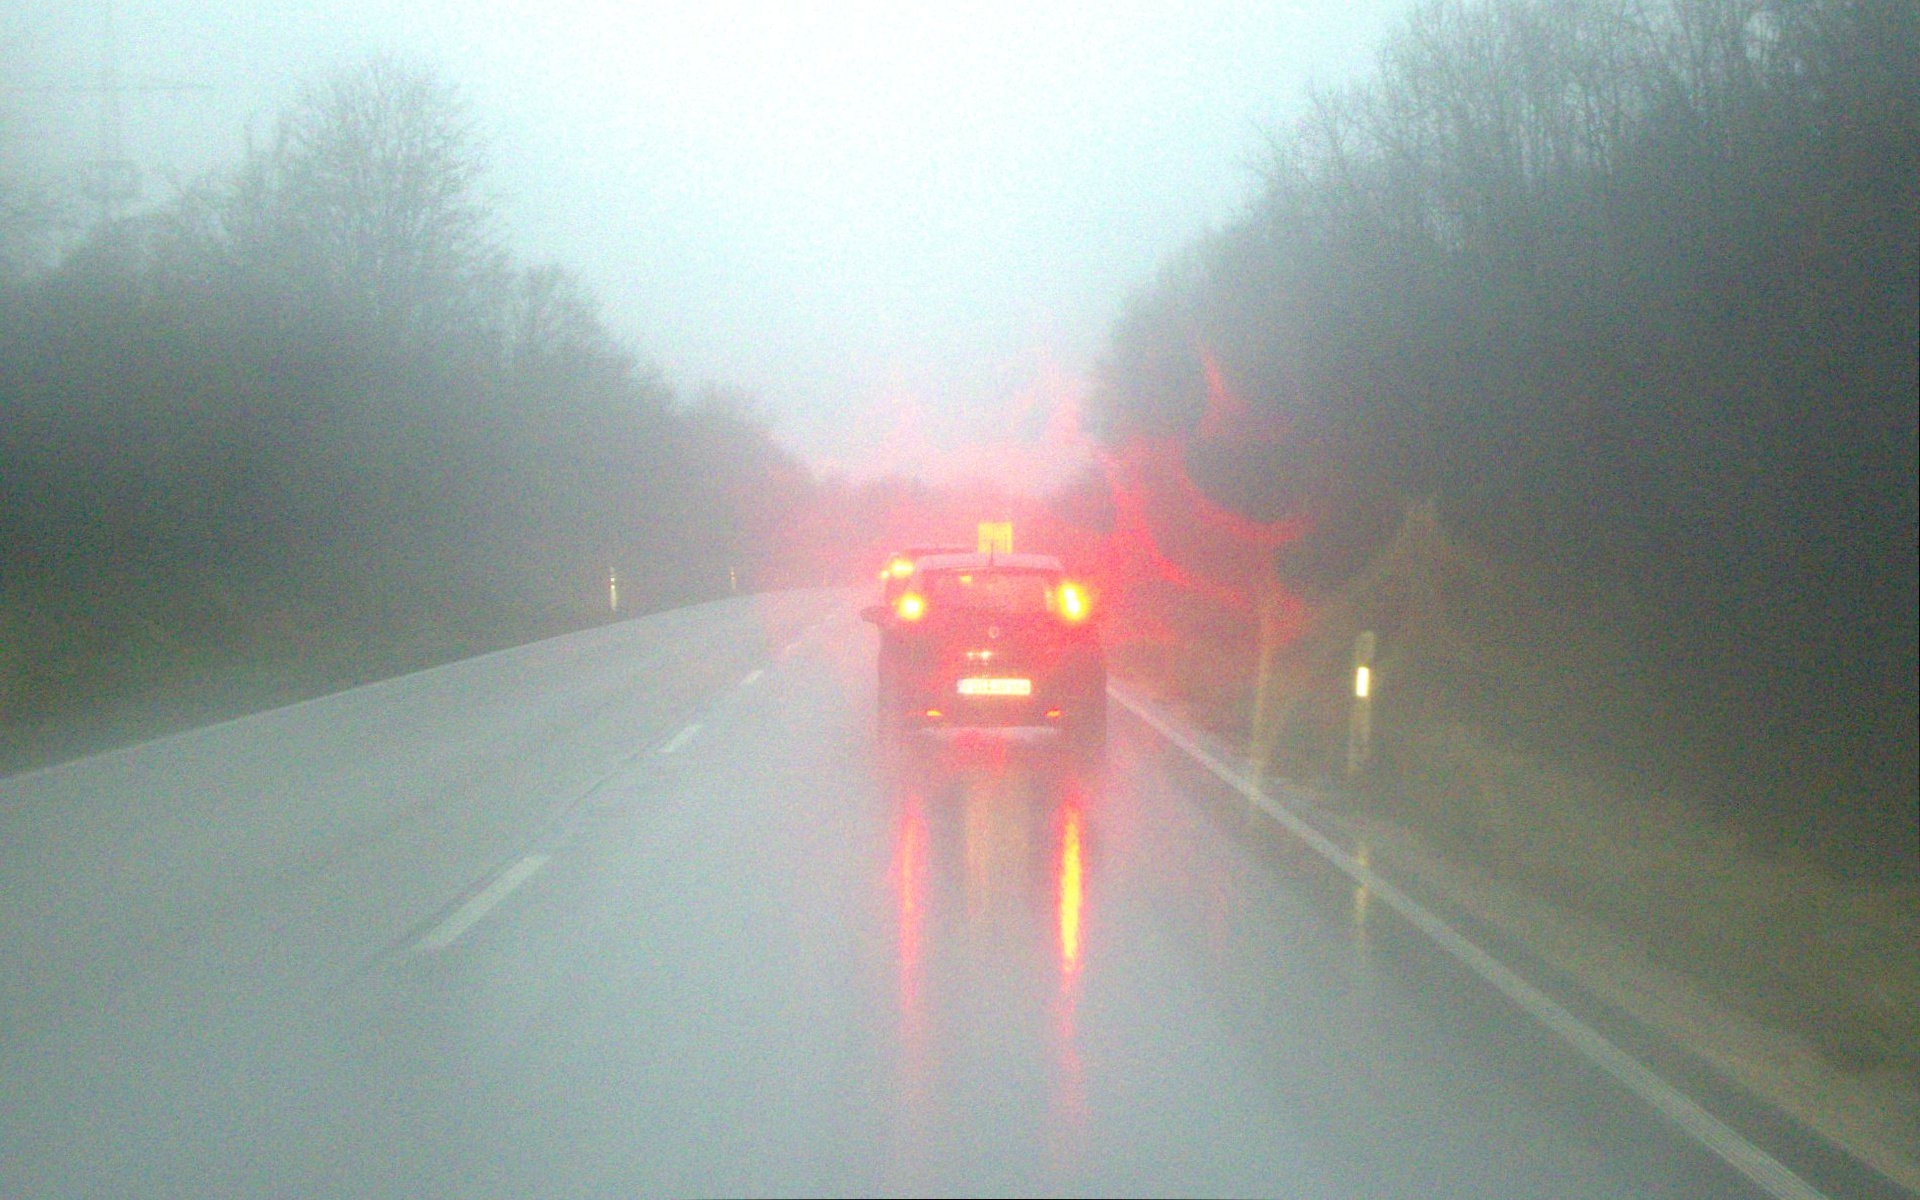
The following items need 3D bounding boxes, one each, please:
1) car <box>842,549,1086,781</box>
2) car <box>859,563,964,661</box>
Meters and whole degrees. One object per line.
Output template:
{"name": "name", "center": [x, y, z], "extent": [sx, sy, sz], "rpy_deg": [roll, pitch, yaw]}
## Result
{"name": "car", "center": [0.047, 0.444, 26.392], "extent": [1.728, 1.638, 4.000], "rpy_deg": [0, 0, 1]}
{"name": "car", "center": [-0.815, 0.182, 59.741], "extent": [1.728, 1.638, 4.000], "rpy_deg": [0, 0, 1]}
